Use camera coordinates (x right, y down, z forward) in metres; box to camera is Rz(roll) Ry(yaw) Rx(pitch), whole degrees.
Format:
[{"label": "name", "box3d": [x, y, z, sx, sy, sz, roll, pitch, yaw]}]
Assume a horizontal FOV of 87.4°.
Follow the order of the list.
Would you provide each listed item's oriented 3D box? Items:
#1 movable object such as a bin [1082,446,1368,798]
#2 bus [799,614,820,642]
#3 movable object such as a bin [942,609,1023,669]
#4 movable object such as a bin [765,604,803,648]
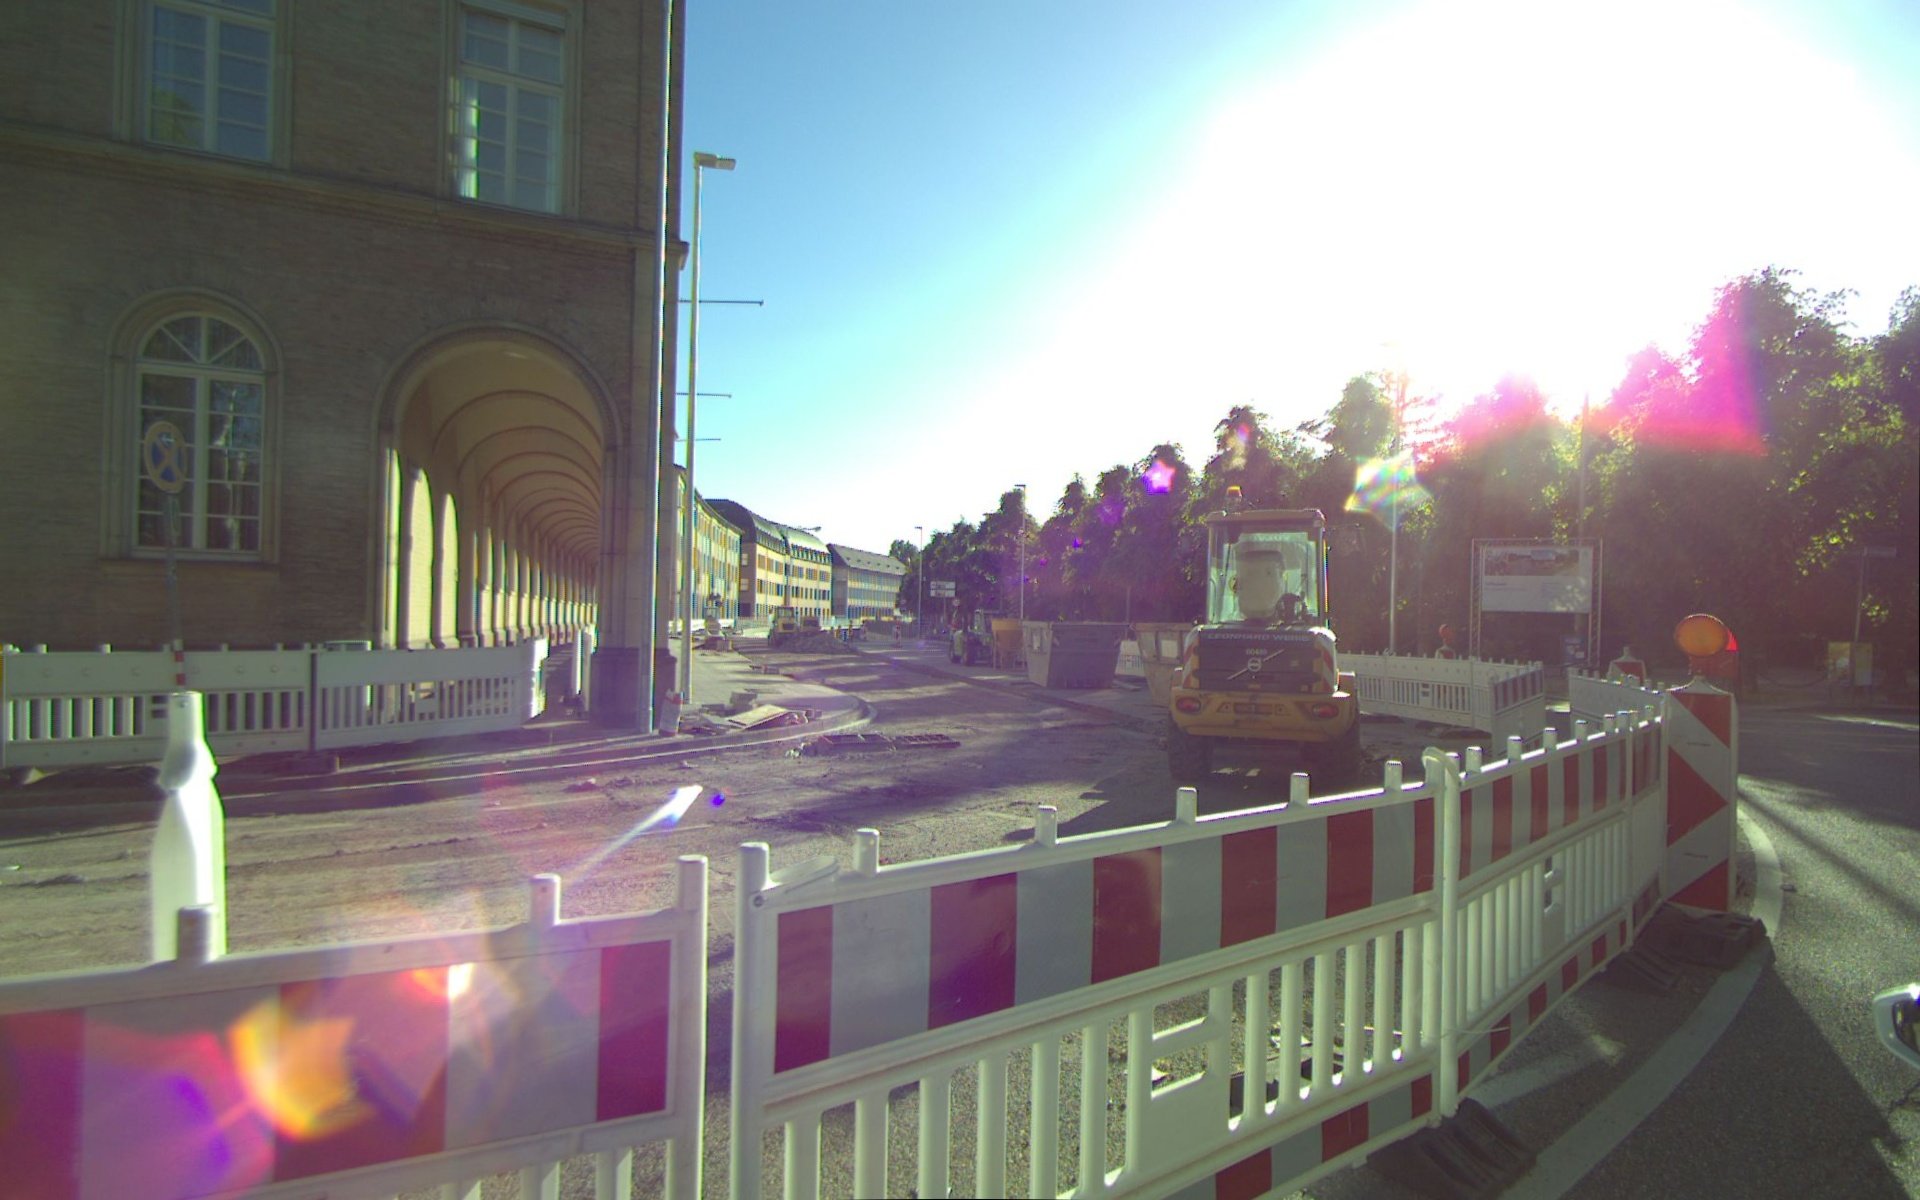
[{"label": "movable object such as a bin", "box3d": [3.328, 0.287, 11.996, 2.516, 3.071, 5.933, 0, -2, 19]}, {"label": "bus", "box3d": [-15.680, 2.966, 104.853, 2.042, 2.721, 4.678, 2, -3, -9]}, {"label": "movable object such as a bin", "box3d": [0.753, 1.350, 36.550, 2.021, 1.975, 4.325, 2, 0, -11]}, {"label": "movable object such as a bin", "box3d": [-10.882, 1.569, 61.782, 2.045, 2.508, 4.605, 2, 0, -13]}]
